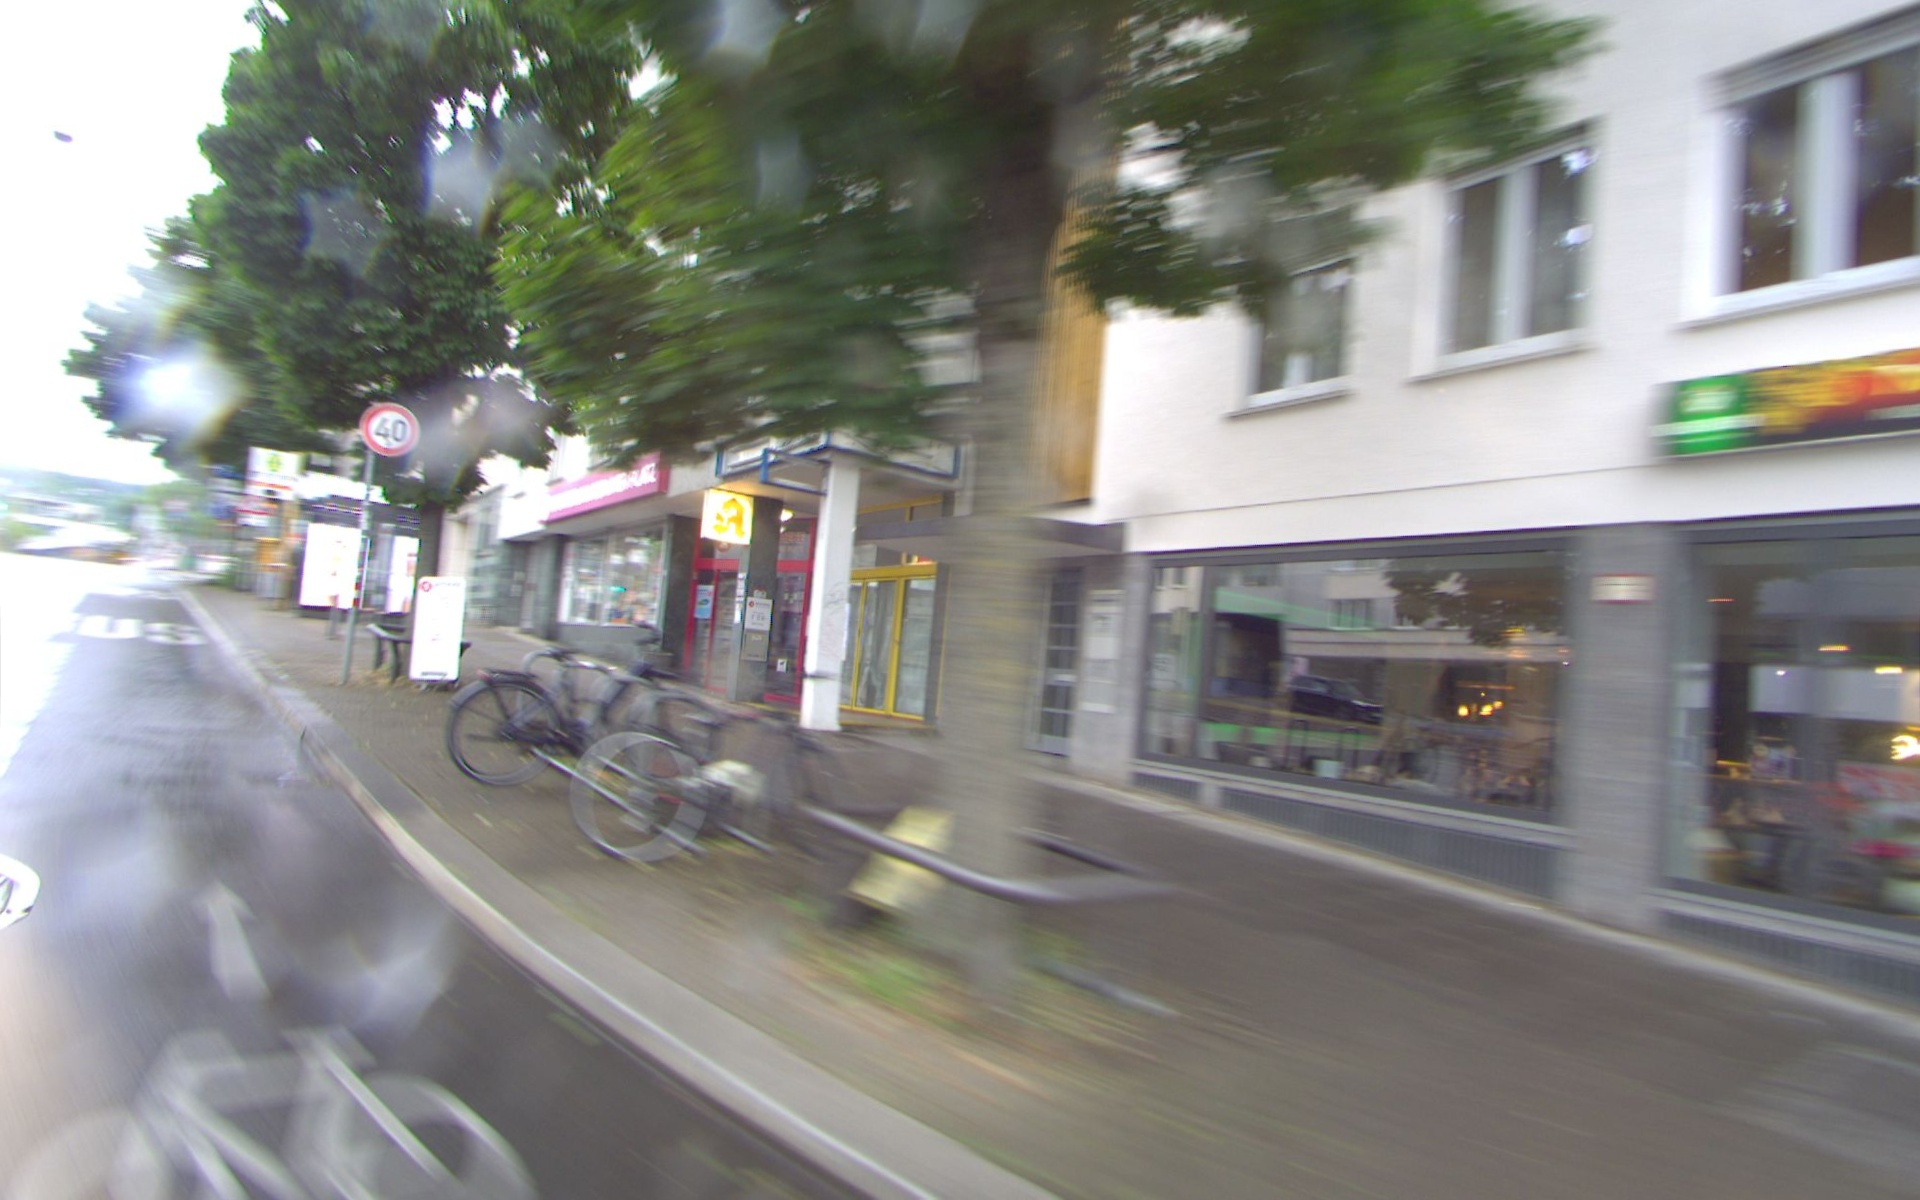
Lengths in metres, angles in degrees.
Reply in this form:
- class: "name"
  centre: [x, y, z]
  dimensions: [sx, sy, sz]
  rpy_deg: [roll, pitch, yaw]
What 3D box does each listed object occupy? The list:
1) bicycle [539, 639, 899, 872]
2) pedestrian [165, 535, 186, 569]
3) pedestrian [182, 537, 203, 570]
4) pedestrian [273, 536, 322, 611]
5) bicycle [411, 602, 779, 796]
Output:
- class: "bicycle"
  centre: [-1.336, 0.894, 5.789]
  dimensions: [1.807, 1.105, 0.643]
  rpy_deg: [8, -1, -37]
- class: "pedestrian"
  centre: [-45.265, -2.765, 58.039]
  dimensions: [0.698, 1.836, 0.965]
  rpy_deg: [8, -2, -43]
- class: "pedestrian"
  centre: [-44.749, -2.728, 58.663]
  dimensions: [0.698, 1.806, 1.054]
  rpy_deg: [8, -2, -43]
- class: "pedestrian"
  centre: [-15.420, -0.626, 23.409]
  dimensions: [0.662, 1.645, 0.957]
  rpy_deg: [8, -2, -40]
- class: "bicycle"
  centre: [-2.540, 0.748, 7.228]
  dimensions: [2.304, 1.187, 0.643]
  rpy_deg: [9, -3, -37]
